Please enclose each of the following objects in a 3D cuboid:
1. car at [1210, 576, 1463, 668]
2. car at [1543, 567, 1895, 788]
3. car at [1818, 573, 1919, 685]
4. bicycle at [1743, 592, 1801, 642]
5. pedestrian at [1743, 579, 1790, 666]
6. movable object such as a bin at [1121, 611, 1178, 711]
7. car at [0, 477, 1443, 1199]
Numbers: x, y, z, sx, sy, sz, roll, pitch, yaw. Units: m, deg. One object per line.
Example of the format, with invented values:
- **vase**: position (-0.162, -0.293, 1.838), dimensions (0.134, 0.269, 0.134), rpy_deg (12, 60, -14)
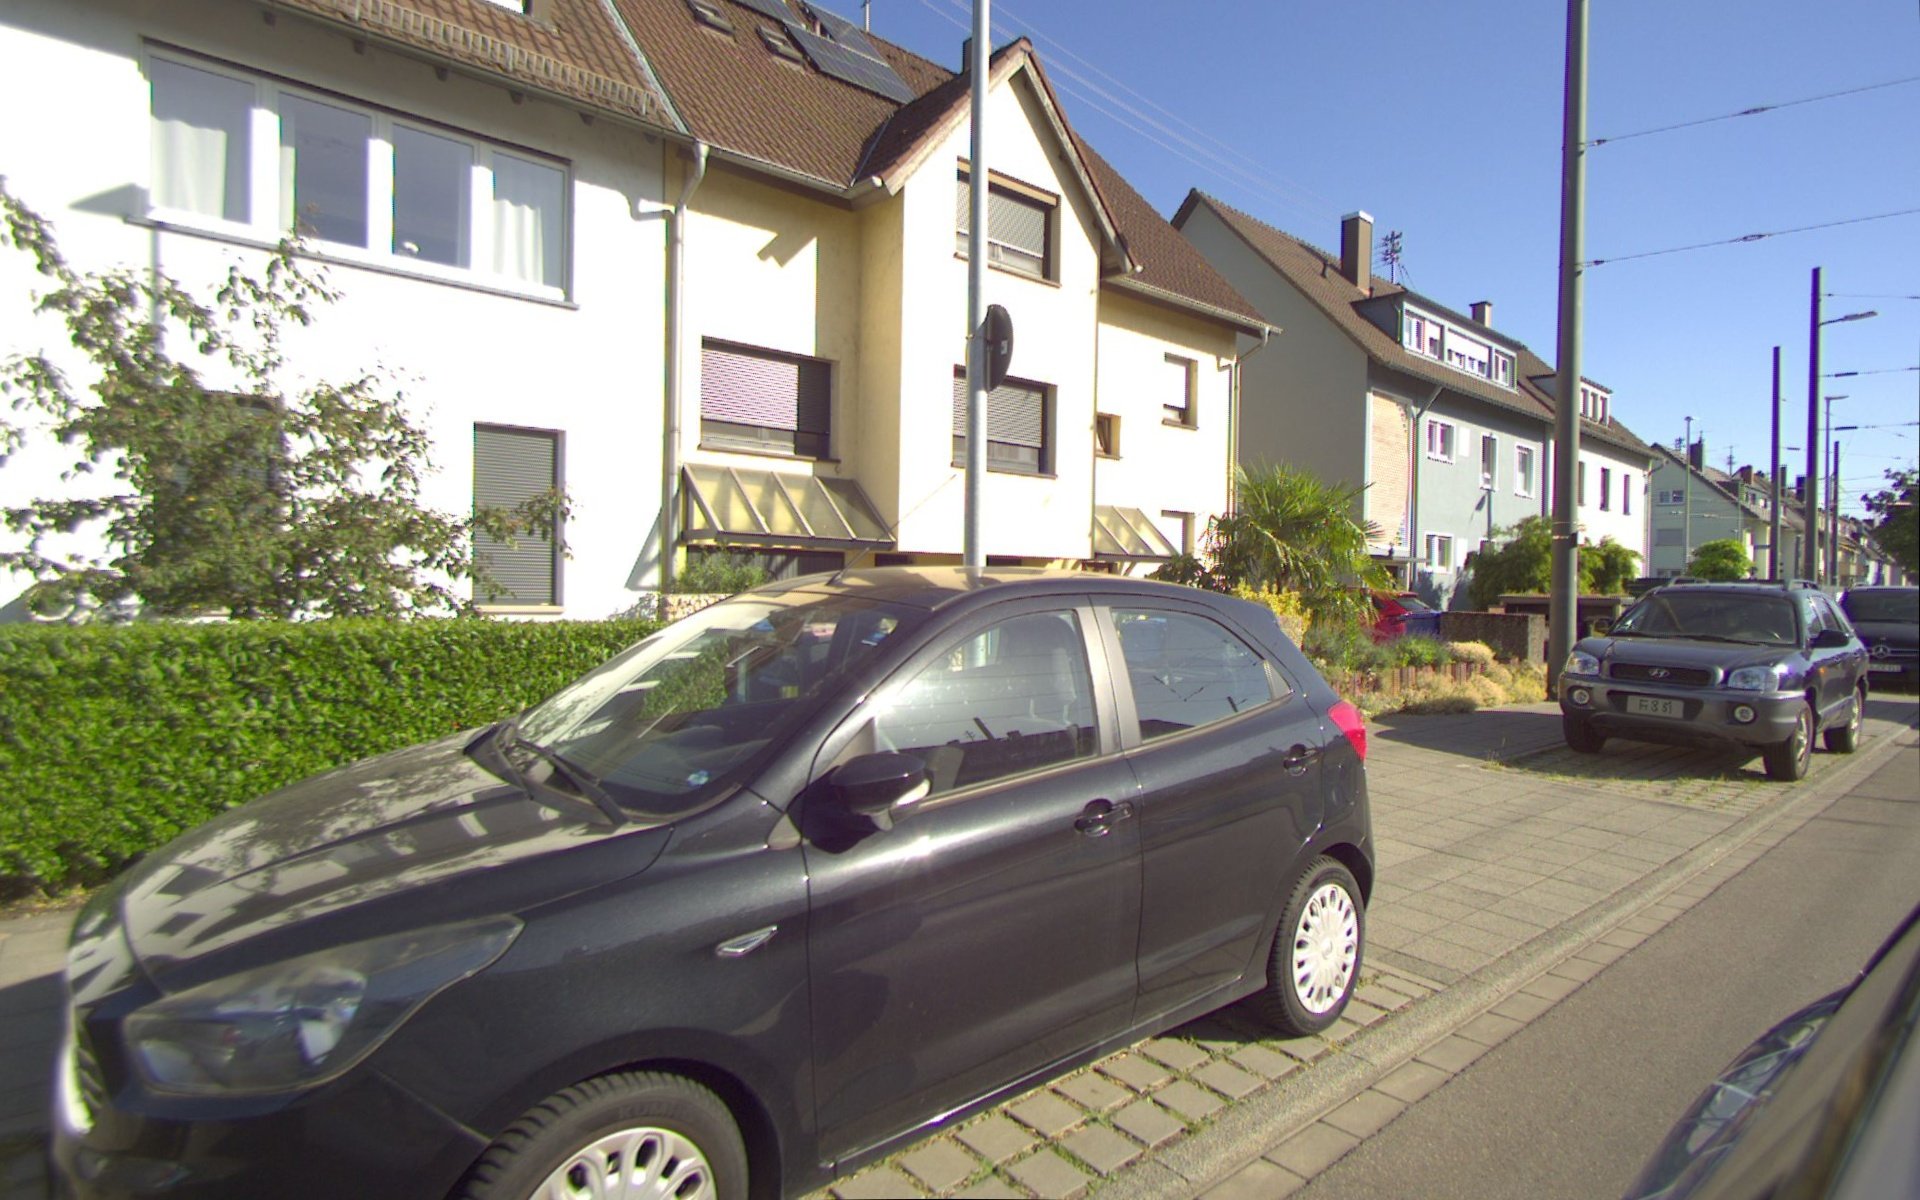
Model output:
- **car**: position (7.127, 0.345, 19.481), dimensions (1.867, 1.486, 4.173), rpy_deg (1, 1, -41)
- **car**: position (7.587, 0.577, 9.947), dimensions (4.395, 1.680, 1.858), rpy_deg (0, 2, -41)
- **car**: position (17.767, 0.481, 18.866), dimensions (4.841, 1.859, 1.965), rpy_deg (0, 2, -41)
- **bicycle**: position (17.100, 0.337, 21.303), dimensions (1.534, 0.991, 0.602), rpy_deg (0, 3, -39)
- **pedestrian**: position (16.775, 0.452, 21.051), dimensions (0.701, 1.745, 0.584), rpy_deg (0, 1, -39)
- **movable object such as a bin**: position (2.107, 0.673, 11.276), dimensions (0.557, 1.076, 0.202), rpy_deg (-3, -1, 44)
- **car**: position (-0.291, 0.577, 3.076), dimensions (3.766, 1.566, 1.671), rpy_deg (0, 4, -39)
